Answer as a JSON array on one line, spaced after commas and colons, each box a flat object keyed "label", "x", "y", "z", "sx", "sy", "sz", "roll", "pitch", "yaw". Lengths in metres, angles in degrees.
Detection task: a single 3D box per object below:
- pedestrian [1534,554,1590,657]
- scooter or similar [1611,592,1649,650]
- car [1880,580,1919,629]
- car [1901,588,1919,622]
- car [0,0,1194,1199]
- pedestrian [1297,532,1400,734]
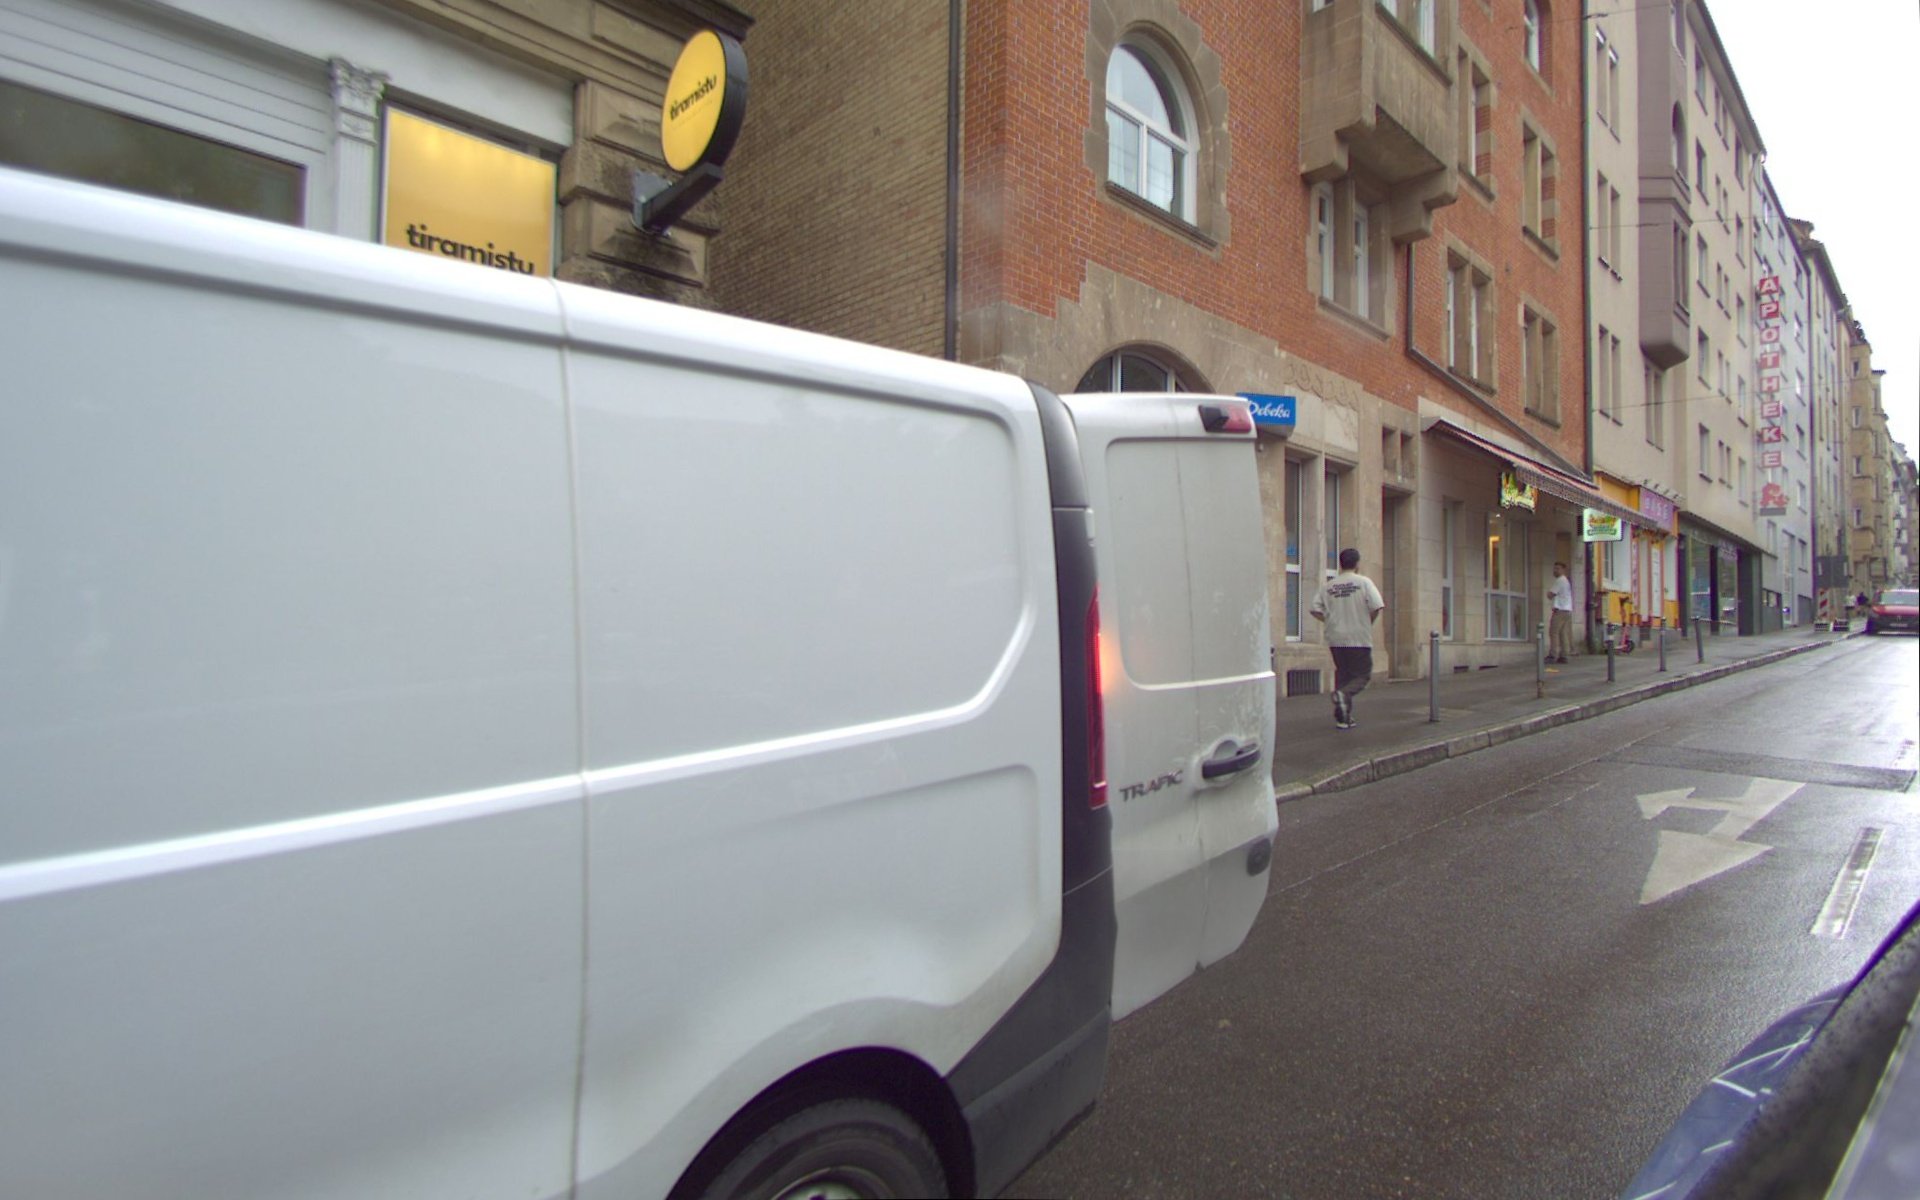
[{"label": "pedestrian", "x": 11.105, "y": 0.094, "z": 18.678, "sx": 0.567, "sy": 1.852, "sz": 0.565, "roll": 1, "pitch": 2, "yaw": -12}, {"label": "scooter or similar", "x": 14.515, "y": 0.450, "z": 21.923, "sx": 1.171, "sy": 1.237, "sz": 0.258, "roll": 1, "pitch": -2, "yaw": -35}, {"label": "car", "x": 38.584, "y": 0.144, "z": 40.863, "sx": 1.975, "sy": 1.861, "sz": 5.162, "roll": 0, "pitch": 0, "yaw": 44}, {"label": "car", "x": 49.912, "y": 0.261, "z": 52.147, "sx": 4.423, "sy": 1.730, "sz": 1.767, "roll": 0, "pitch": -1, "yaw": -43}, {"label": "car", "x": -1.821, "y": 0.386, "z": 1.360, "sx": 4.606, "sy": 1.960, "sz": 1.923, "roll": -1, "pitch": 0, "yaw": -43}, {"label": "pedestrian", "x": 3.630, "y": 0.284, "z": 9.450, "sx": 0.683, "sy": 1.776, "sz": 0.824, "roll": 0, "pitch": 0, "yaw": 39}]
